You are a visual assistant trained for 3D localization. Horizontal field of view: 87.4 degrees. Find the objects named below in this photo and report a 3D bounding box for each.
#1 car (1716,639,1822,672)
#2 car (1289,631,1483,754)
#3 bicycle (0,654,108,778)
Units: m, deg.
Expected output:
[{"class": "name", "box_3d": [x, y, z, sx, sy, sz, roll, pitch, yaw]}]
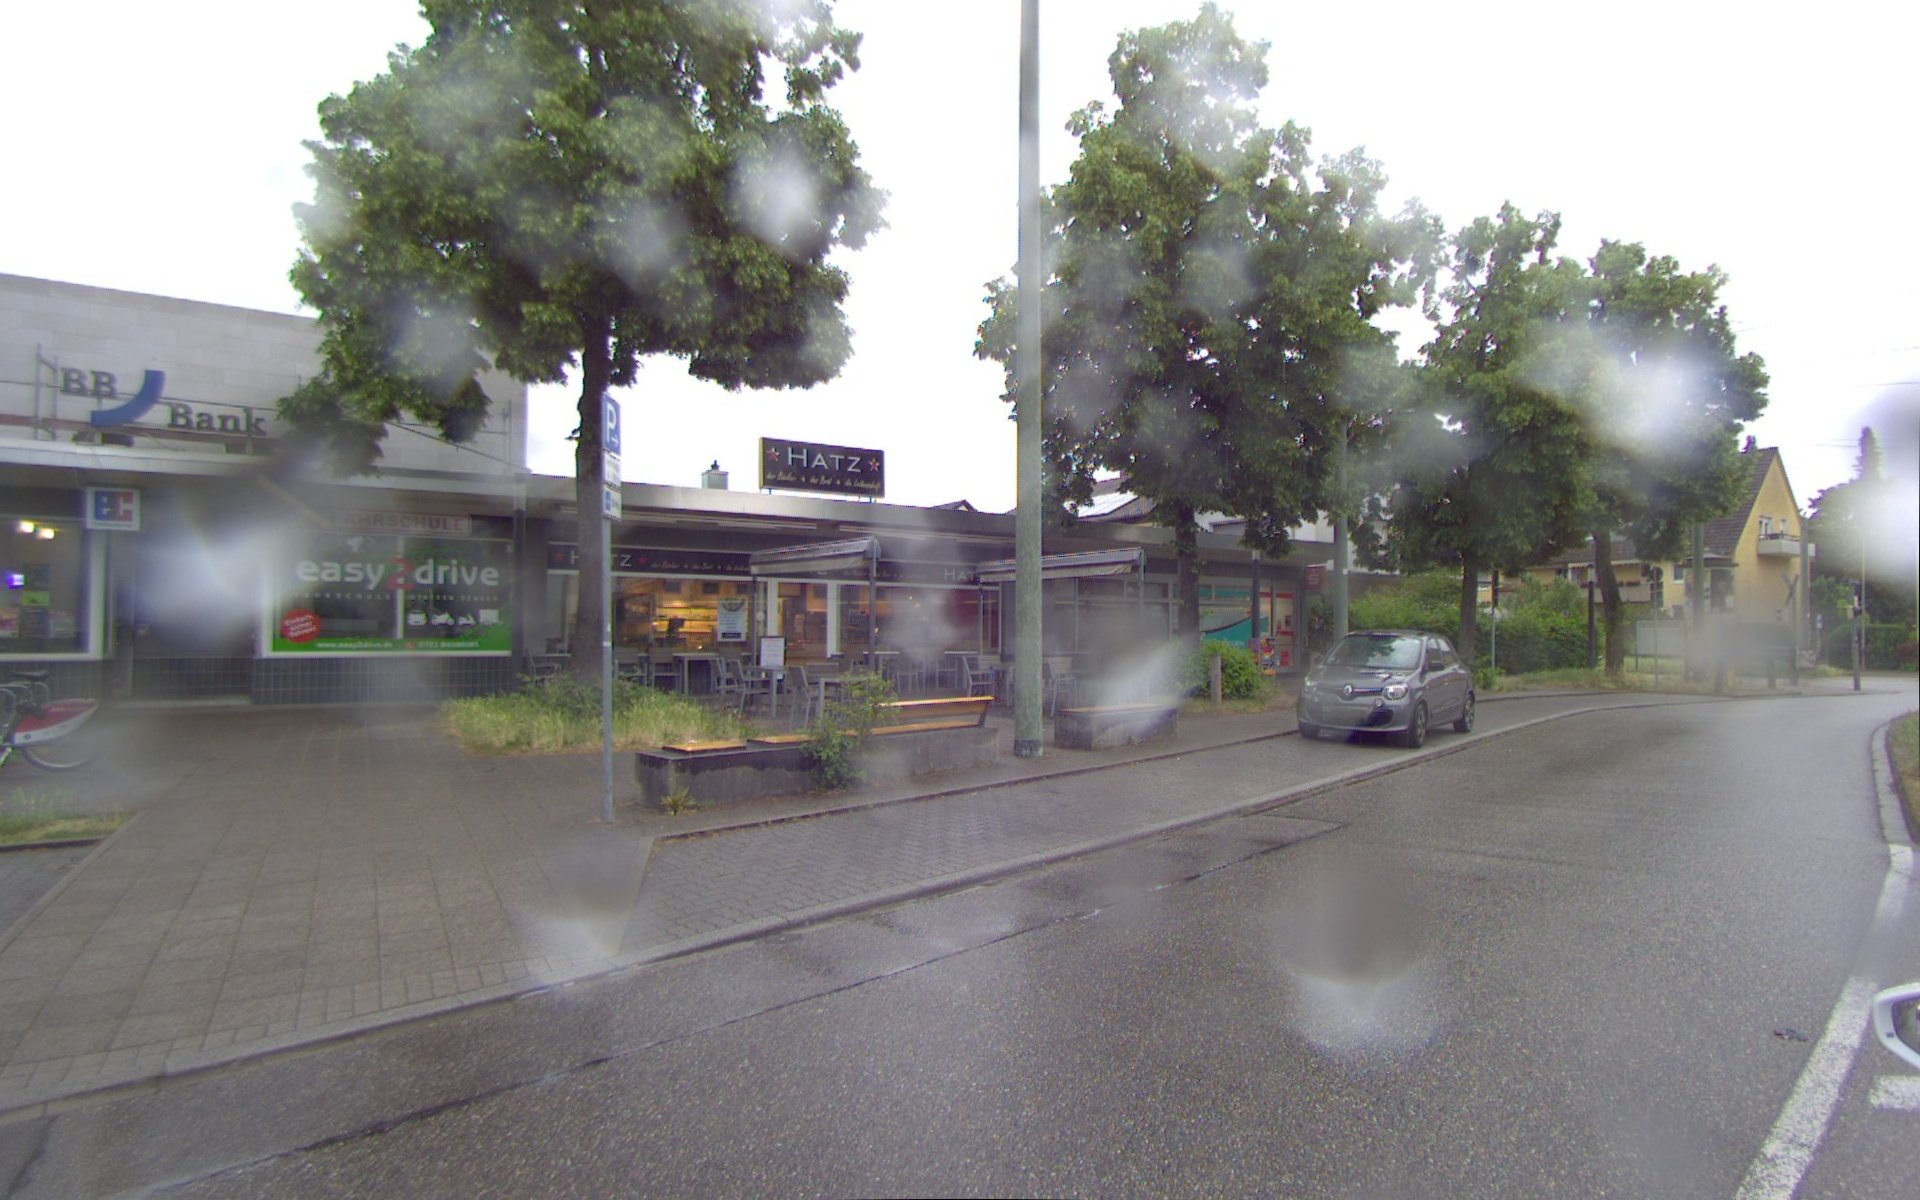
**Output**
[{"class": "car", "box_3d": [41.956, 2.847, 52.181, 1.815, 1.476, 3.960, 2, 0, -35]}, {"class": "car", "box_3d": [6.373, 1.244, 14.824, 1.598, 1.516, 3.649, 2, 0, 40]}, {"class": "bicycle", "box_3d": [-9.012, 1.074, 9.246, 0.314, 1.122, 1.739, 2, 0, 43]}]
